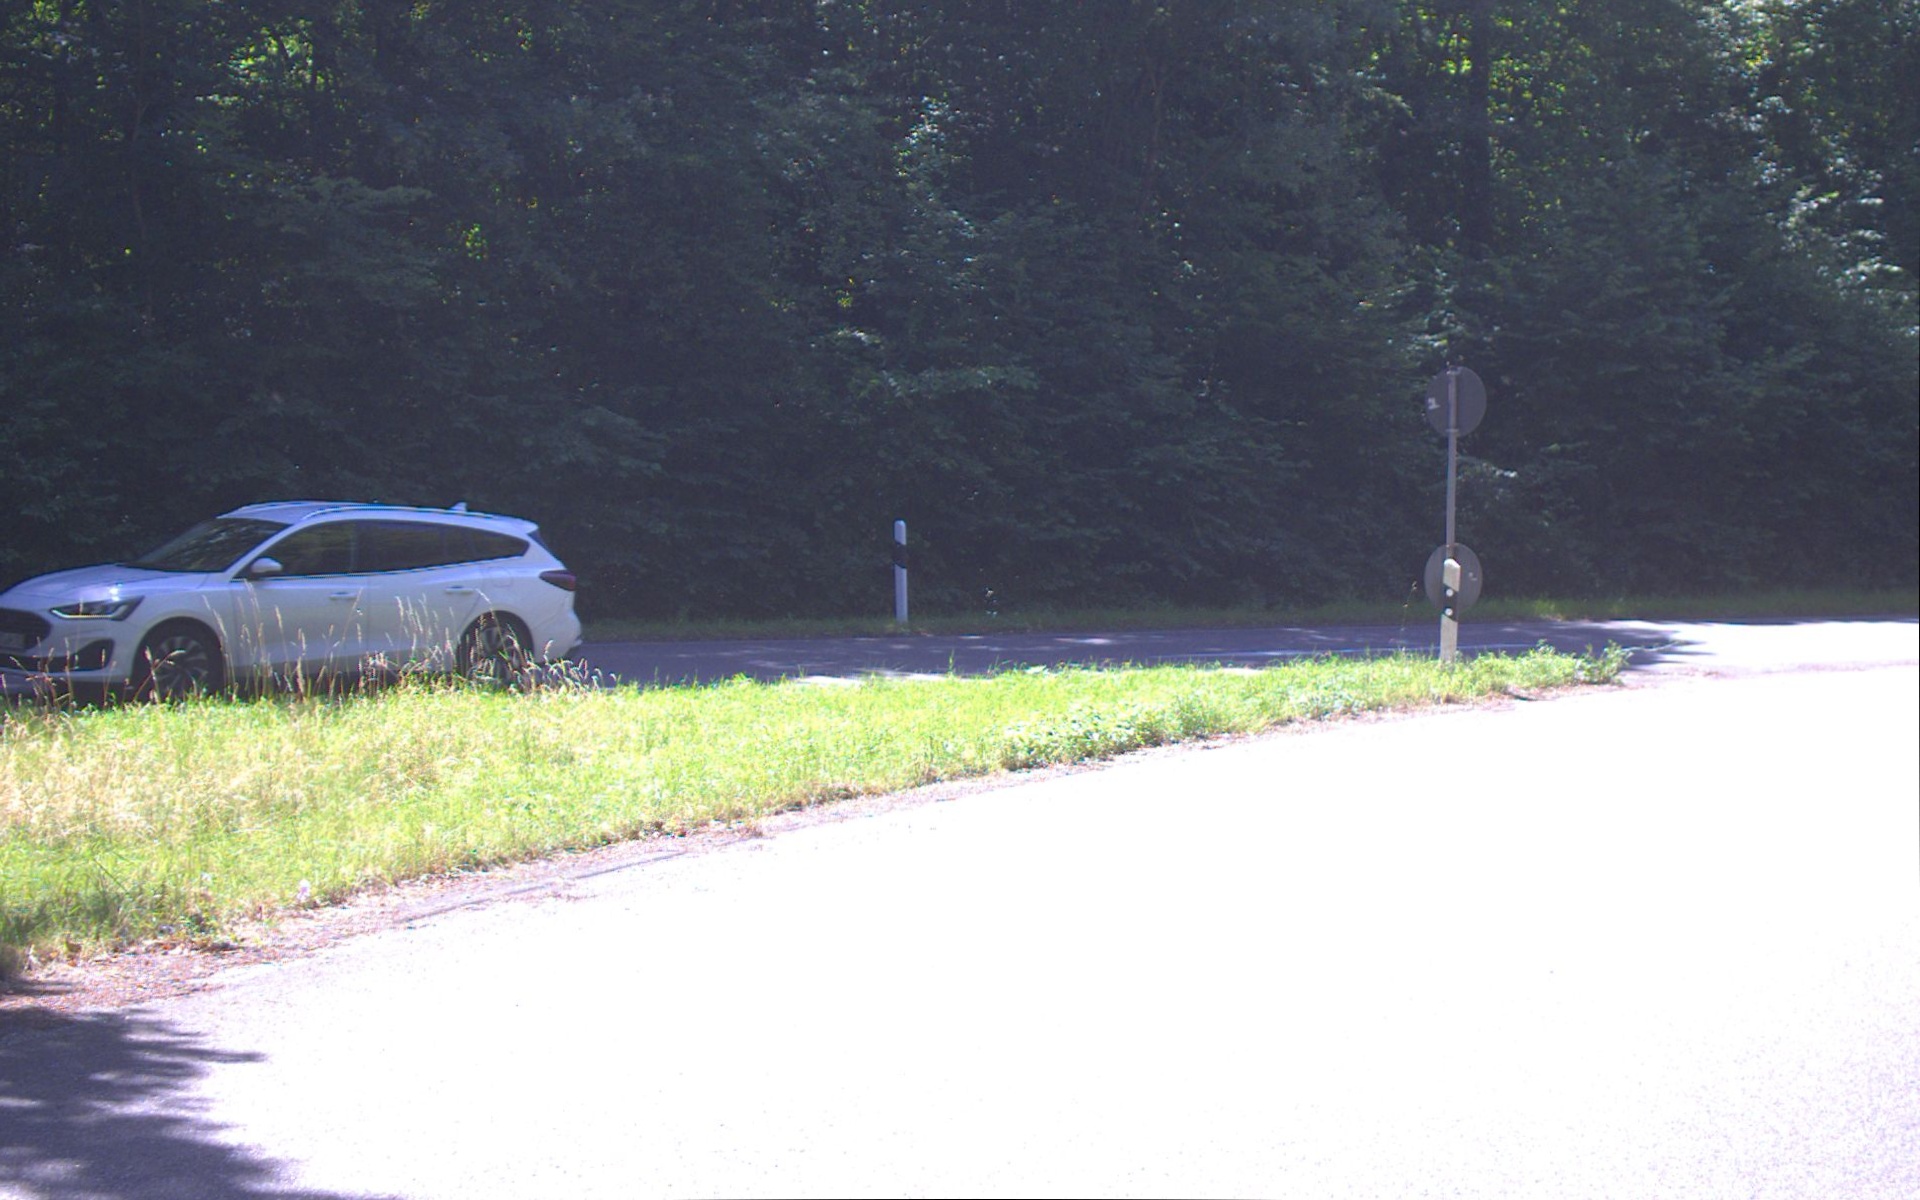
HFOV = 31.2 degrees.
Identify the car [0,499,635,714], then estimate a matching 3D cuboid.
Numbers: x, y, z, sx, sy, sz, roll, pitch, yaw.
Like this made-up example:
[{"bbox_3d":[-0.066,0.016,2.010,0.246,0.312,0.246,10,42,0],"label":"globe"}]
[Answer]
[{"bbox_3d":[-5.025,-0.017,26.349,4.856,1.447,1.761,-1,4,-38],"label":"car"}]
